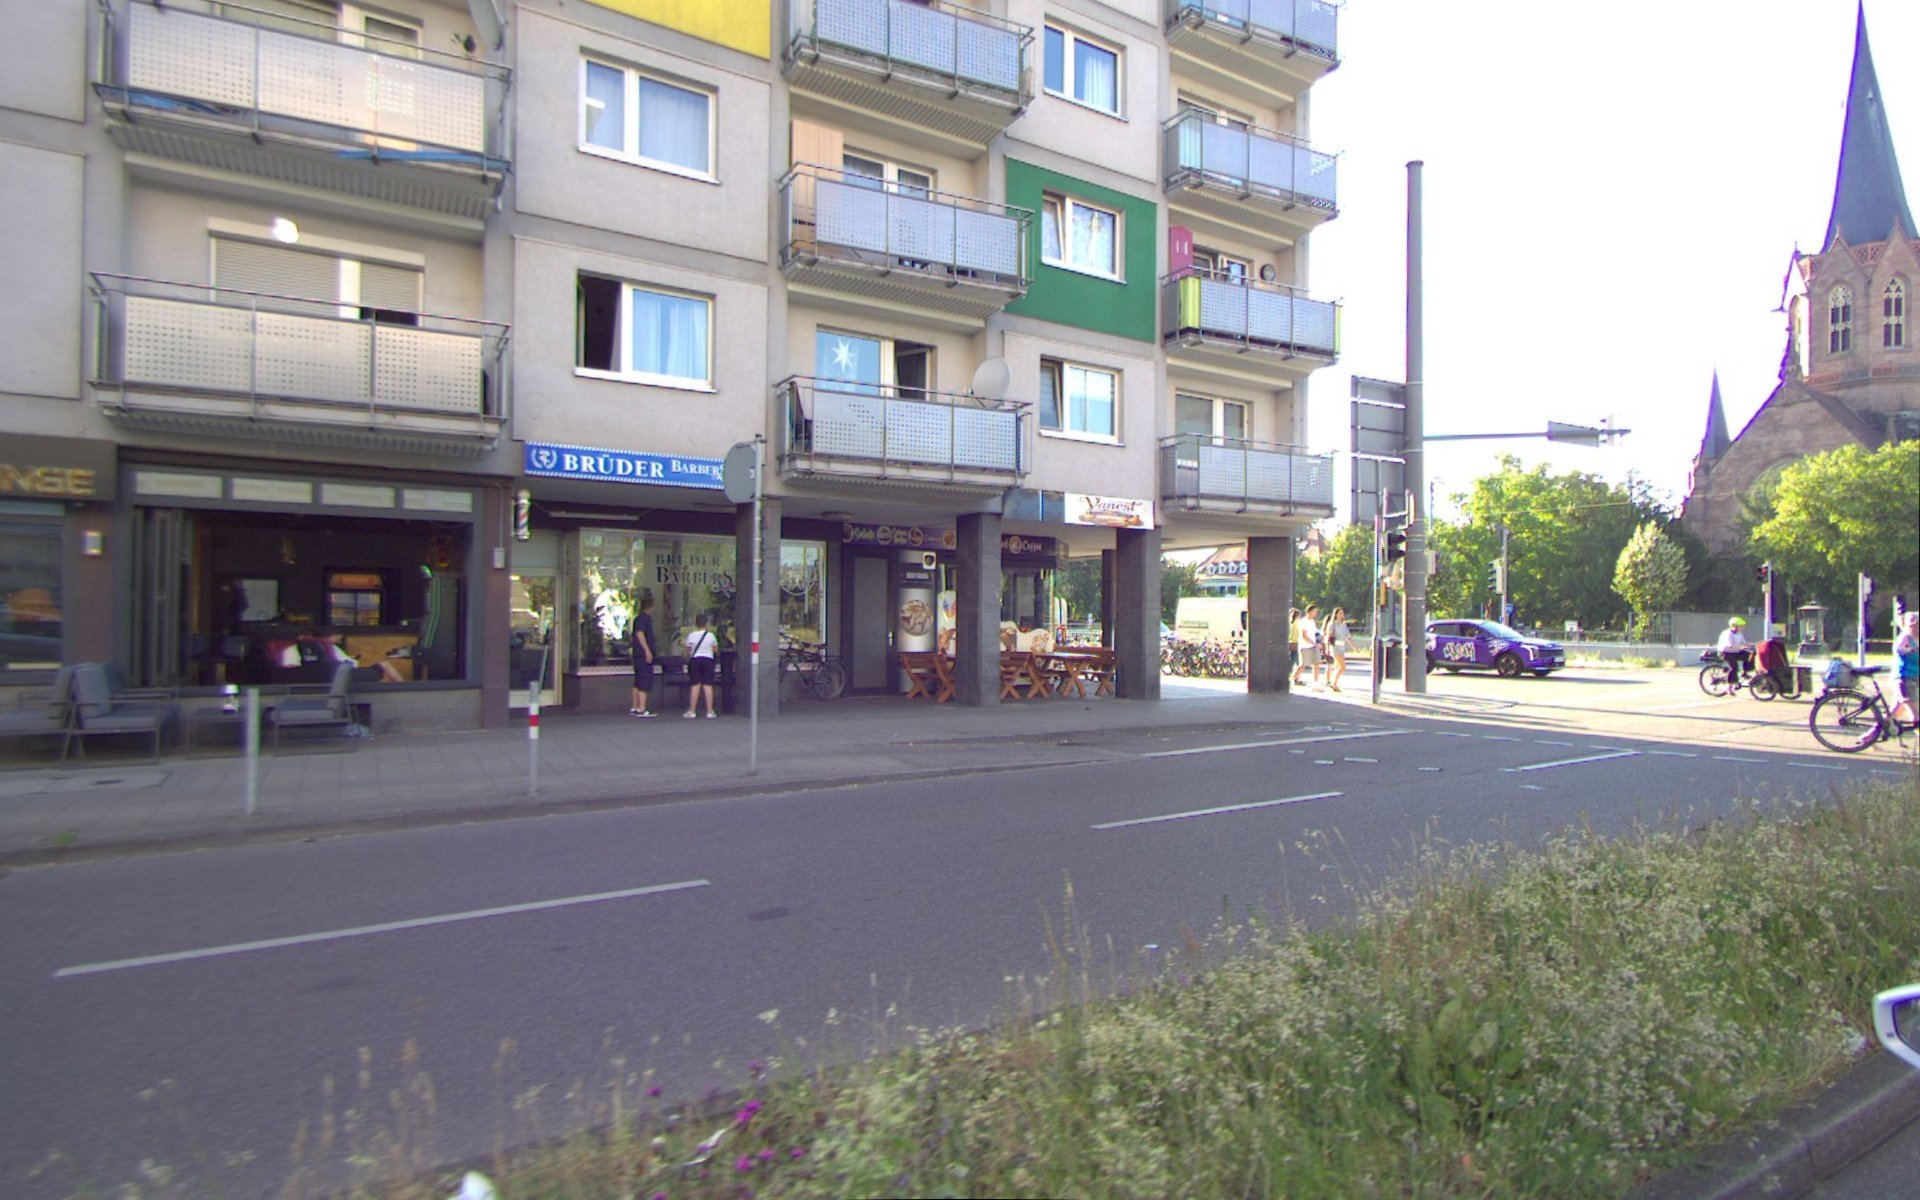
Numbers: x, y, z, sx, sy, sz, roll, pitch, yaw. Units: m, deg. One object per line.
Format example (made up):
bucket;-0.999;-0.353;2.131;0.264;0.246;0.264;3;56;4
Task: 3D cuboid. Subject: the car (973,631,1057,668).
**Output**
car;2.651;2.398;49.552;1.939;1.640;4.461;1;-1;-31

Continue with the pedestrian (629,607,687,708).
pedestrian;-4.882;0.912;16.246;0.778;1.599;0.558;1;-1;-31

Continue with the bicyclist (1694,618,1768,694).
bicyclist;15.817;1.133;20.615;1.149;1.506;0.874;1;-1;-33

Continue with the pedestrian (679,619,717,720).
pedestrian;-3.705;0.965;14.227;0.473;1.402;0.484;0;-1;-11

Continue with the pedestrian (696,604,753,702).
pedestrian;-3.963;0.882;16.929;0.780;1.599;0.557;1;-1;-37

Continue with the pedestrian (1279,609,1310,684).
pedestrian;8.069;1.114;24.212;0.464;1.792;0.550;1;-1;-29

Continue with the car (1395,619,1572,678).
car;15.310;1.369;29.617;1.814;1.594;4.383;1;-1;-29

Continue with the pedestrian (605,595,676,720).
pedestrian;-4.548;0.805;14.317;0.764;1.723;0.561;0;-1;13

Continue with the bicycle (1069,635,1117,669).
bicycle;4.349;1.684;32.731;0.491;1.049;1.928;0;-1;44

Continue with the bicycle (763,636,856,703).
bicycle;-2.550;1.166;17.062;1.441;1.095;0.584;2;-2;-34

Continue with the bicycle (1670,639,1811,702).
bicycle;15.897;1.401;20.508;1.149;1.183;2.031;1;-1;-32

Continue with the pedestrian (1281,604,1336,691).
pedestrian;7.347;0.983;21.196;0.664;1.781;0.921;1;-1;-22

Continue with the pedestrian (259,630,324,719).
pedestrian;-8.473;0.926;12.732;0.544;1.094;0.521;0;-1;36

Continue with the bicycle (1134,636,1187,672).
bicycle;6.011;1.596;30.056;1.685;1.044;0.493;1;-1;-33

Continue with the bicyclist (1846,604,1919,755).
bicyclist;10.883;0.891;11.579;0.891;1.682;0.778;1;-1;-32

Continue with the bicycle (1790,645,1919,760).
bicycle;10.493;1.127;11.179;0.726;1.204;1.818;1;-1;-32

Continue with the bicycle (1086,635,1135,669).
bicycle;4.825;1.647;32.135;0.491;1.049;1.928;0;-1;44

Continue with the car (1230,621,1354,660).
car;12.953;1.557;39.449;1.939;1.428;4.461;1;-1;-31

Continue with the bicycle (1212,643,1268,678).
bicycle;7.650;1.635;27.422;1.685;0.919;0.493;1;-1;-33

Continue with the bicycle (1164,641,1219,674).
bicycle;6.647;1.642;28.803;1.685;0.919;0.493;1;-1;-33

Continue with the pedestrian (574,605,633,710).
pedestrian;-5.599;0.891;15.760;0.778;1.599;0.558;1;-1;-31

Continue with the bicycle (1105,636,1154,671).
bicycle;5.301;1.650;31.369;0.491;1.049;1.928;0;-1;44

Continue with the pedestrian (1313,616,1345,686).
pedestrian;8.841;1.214;24.063;0.566;1.663;0.468;1;-1;-11

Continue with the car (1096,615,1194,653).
car;8.486;1.541;46.425;2.096;1.694;4.433;1;-1;-31

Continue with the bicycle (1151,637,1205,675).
bicycle;6.373;1.624;29.381;1.685;1.052;0.493;1;-1;-33

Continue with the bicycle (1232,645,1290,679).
bicycle;8.023;1.641;26.735;1.685;0.851;0.493;1;-1;-33

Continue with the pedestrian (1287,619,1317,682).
pedestrian;8.498;1.252;24.977;0.570;1.551;0.465;1;-1;-32

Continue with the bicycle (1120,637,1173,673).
bicycle;5.690;1.664;30.604;1.685;1.049;0.493;1;-1;-33

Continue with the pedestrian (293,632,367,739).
pedestrian;-7.458;0.994;11.897;0.513;1.219;0.552;0;-1;27

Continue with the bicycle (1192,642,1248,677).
bicycle;7.222;1.637;27.887;1.685;0.919;0.493;1;-1;-33

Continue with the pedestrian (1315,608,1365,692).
pedestrian;8.075;1.048;21.334;0.664;1.731;0.752;1;-1;-22

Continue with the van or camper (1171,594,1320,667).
van or camper;10.391;1.093;37.033;2.139;2.448;5.396;1;-1;-30
